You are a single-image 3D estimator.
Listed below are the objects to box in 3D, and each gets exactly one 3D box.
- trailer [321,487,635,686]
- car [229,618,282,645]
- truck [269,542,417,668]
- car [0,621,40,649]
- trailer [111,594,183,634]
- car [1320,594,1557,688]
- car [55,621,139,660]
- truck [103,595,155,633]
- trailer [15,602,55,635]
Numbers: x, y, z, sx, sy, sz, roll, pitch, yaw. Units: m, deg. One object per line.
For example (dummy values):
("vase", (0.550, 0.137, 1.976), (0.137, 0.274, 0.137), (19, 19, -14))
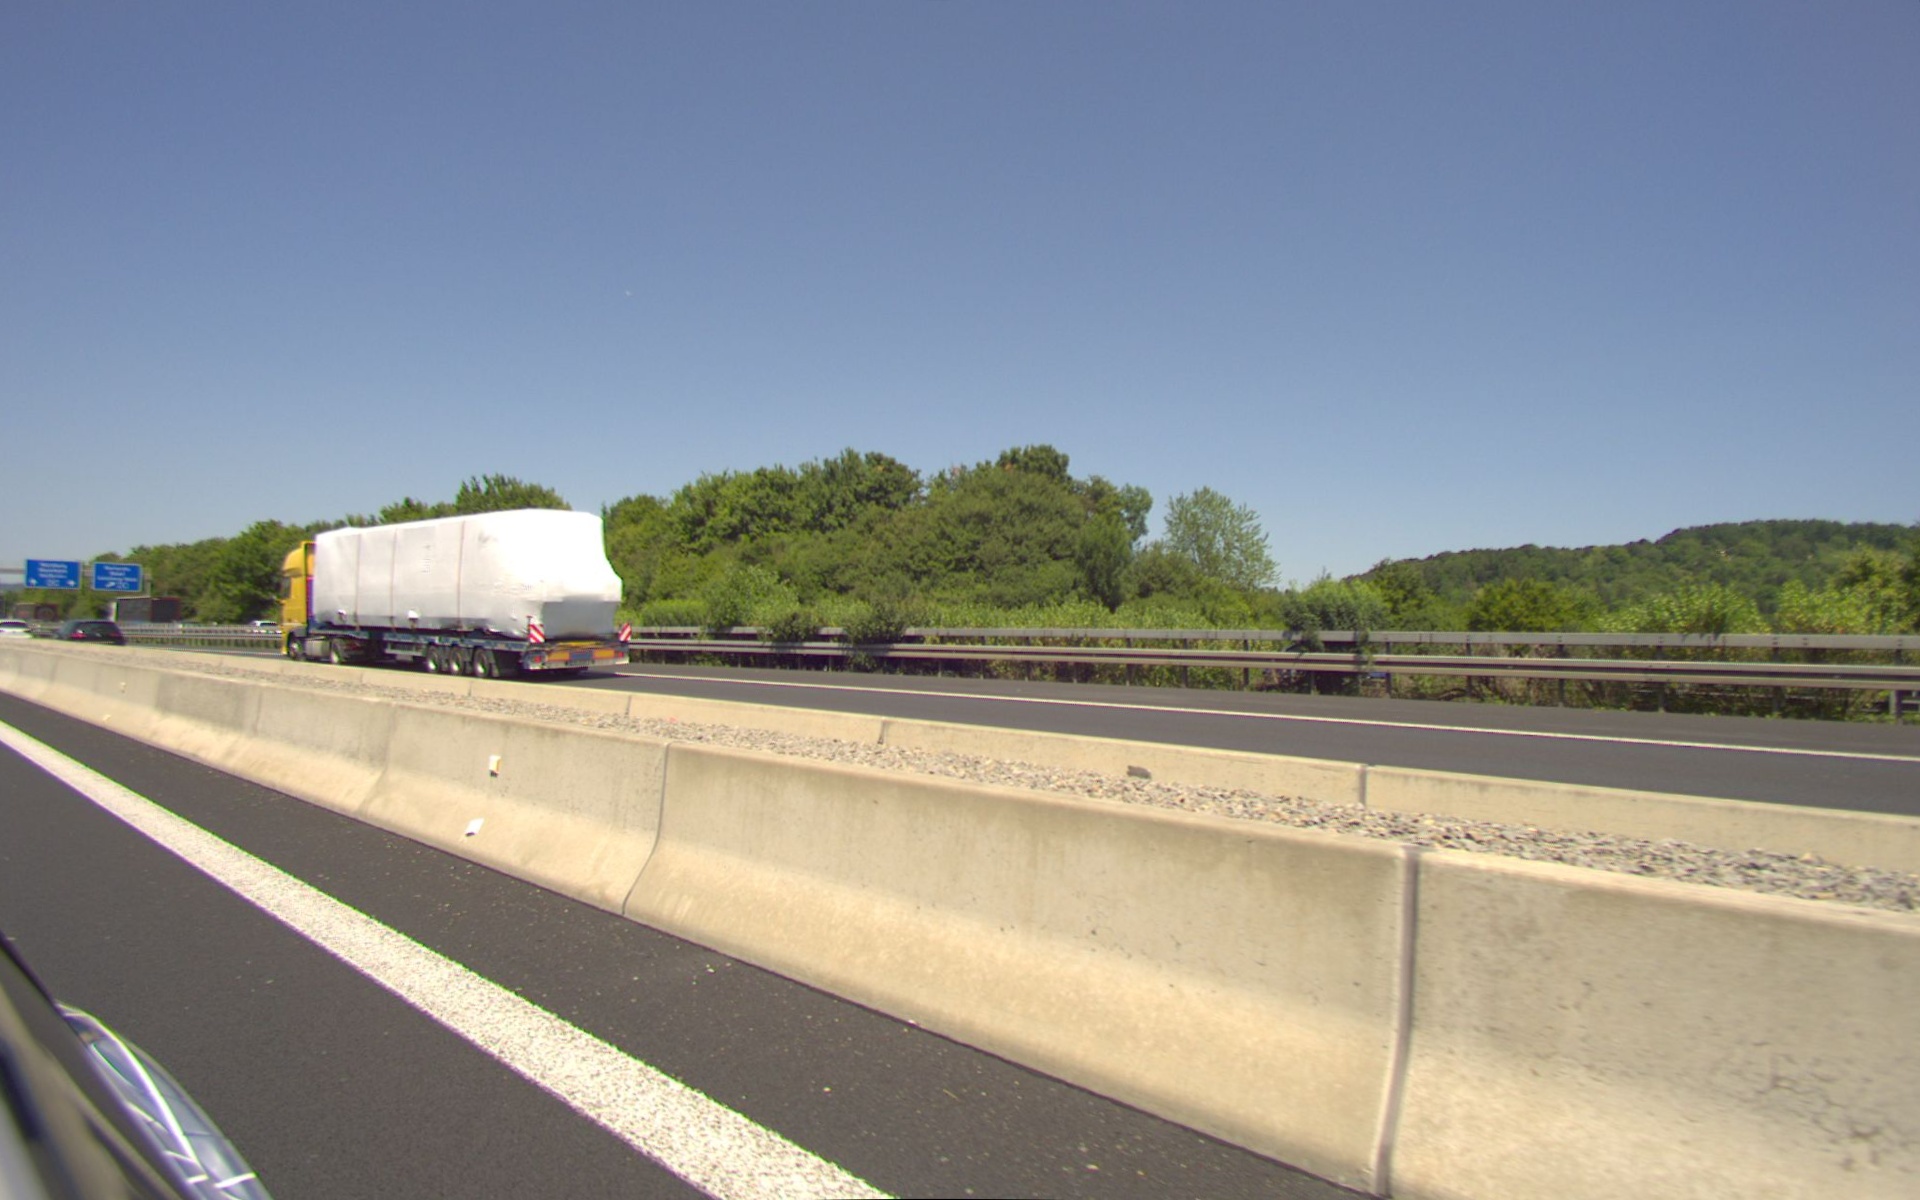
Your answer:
("trailer", (-13.468, -0.230, 27.239), (12.816, 4.345, 2.690), (-1, -1, 41))
("car", (-51.213, 2.301, 73.526), (4.424, 1.872, 1.974), (-1, -3, 39))
("truck", (-20.153, 0.187, 33.002), (4.862, 3.783, 2.722), (-1, -1, 40))
("car", (-49.411, 1.802, 52.403), (4.658, 1.384, 1.974), (-1, -2, 39))
("trailer", (-85.837, 1.475, 106.722), (13.522, 4.076, 3.188), (-1, -1, 39))
("car", (10.546, 0.886, 22.463), (4.424, 1.872, 1.974), (-1, -3, 39))
("car", (-33.023, 1.493, 38.690), (4.259, 1.360, 1.972), (-1, -1, 43))
("truck", (-91.348, 1.535, 111.227), (6.632, 4.076, 3.188), (-1, -1, 39))
("trailer", (-131.243, 2.598, 143.503), (11.644, 4.467, 2.766), (-1, -1, 40))
